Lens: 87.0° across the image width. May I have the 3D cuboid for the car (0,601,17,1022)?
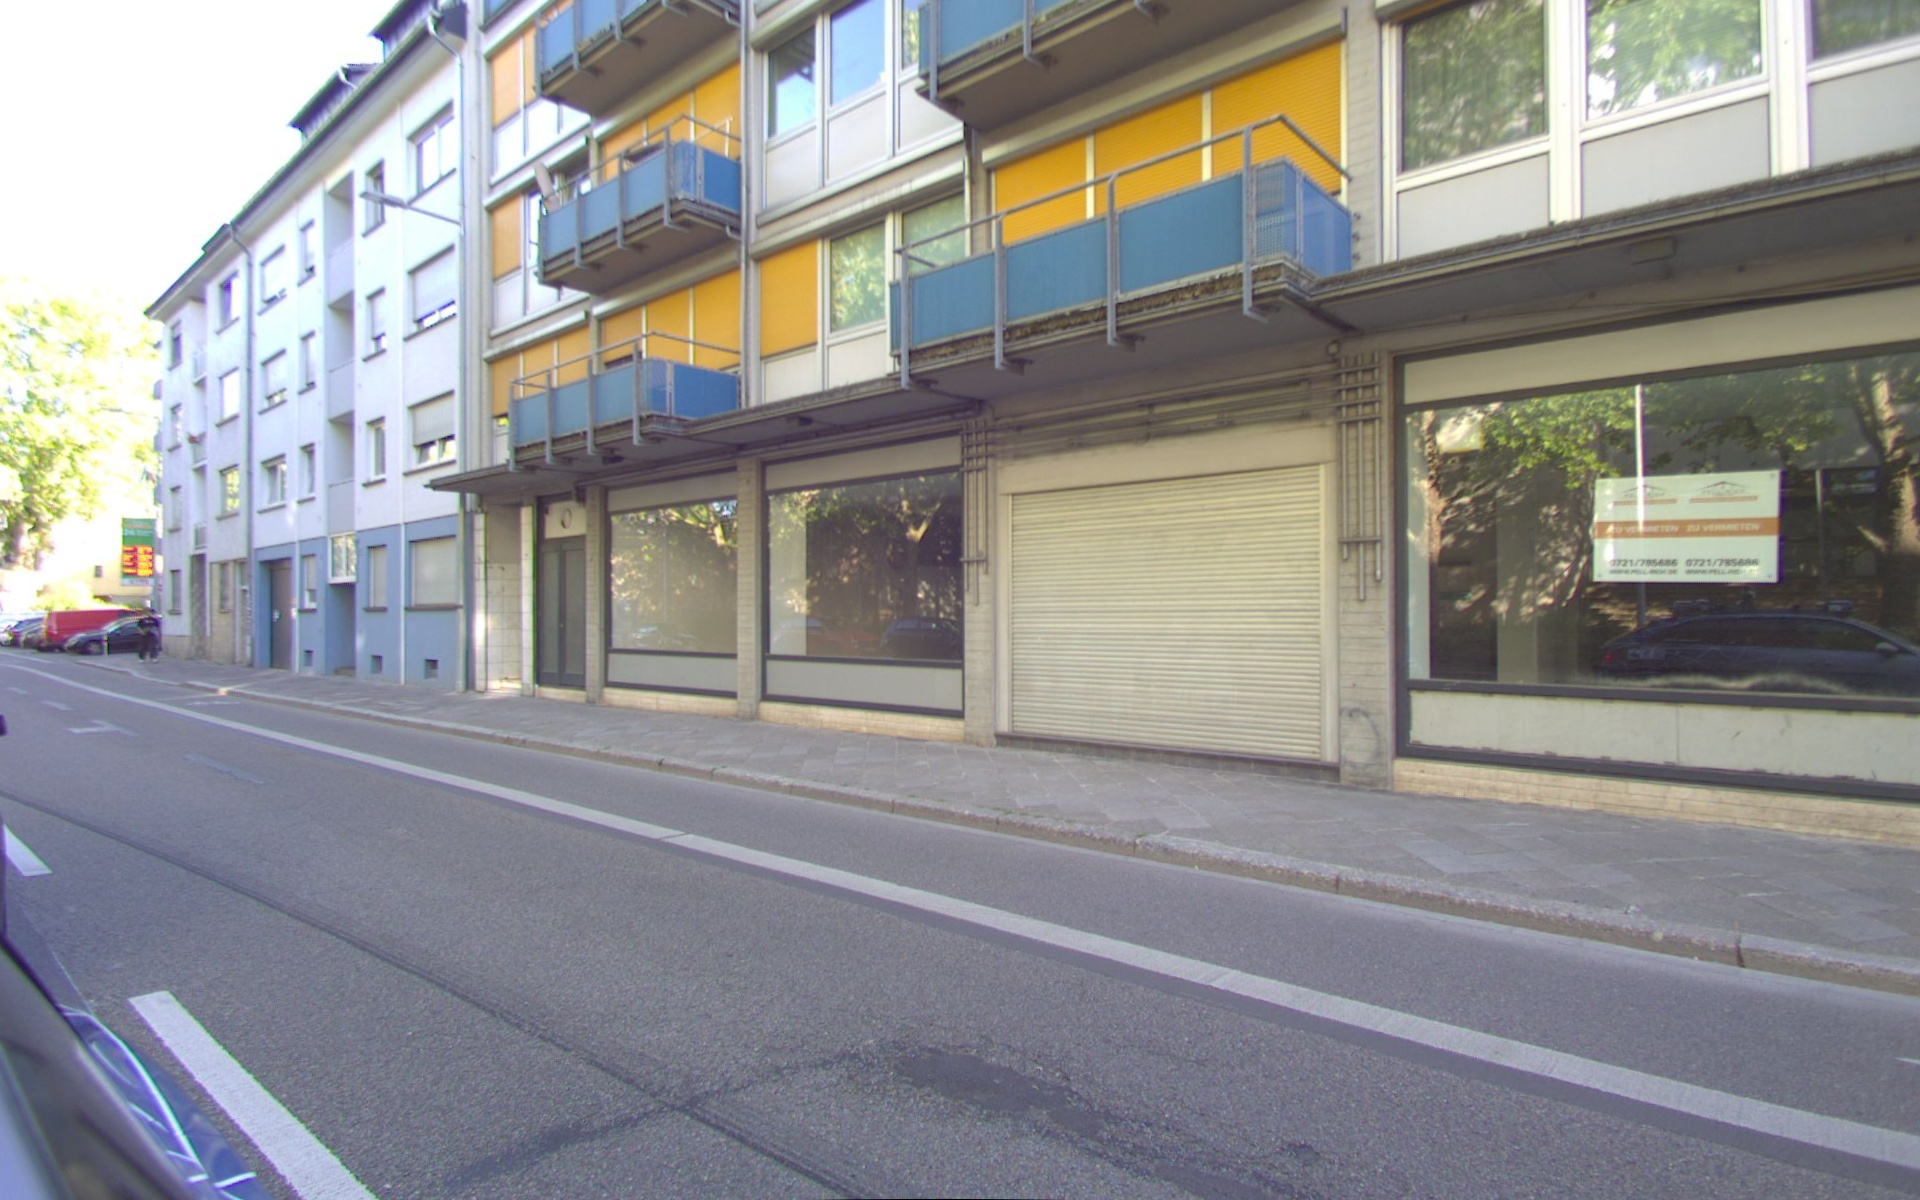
[{"bbox_3d":[-5.634,0.794,4.399,4.300,1.510,1.826,-1,-1,41],"label":"car"}]

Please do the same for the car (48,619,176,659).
[{"bbox_3d":[-38.178,1.726,45.650,1.652,1.480,4.201,-1,1,41],"label":"car"}]

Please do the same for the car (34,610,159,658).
[{"bbox_3d":[-40.559,1.553,47.612,1.817,1.933,4.202,-1,1,40],"label":"car"}]

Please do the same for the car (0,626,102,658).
[{"bbox_3d":[-50.455,2.287,56.099,1.652,1.480,4.201,-1,1,41],"label":"car"}]

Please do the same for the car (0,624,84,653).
[{"bbox_3d":[-55.870,2.294,61.191,1.652,1.480,4.201,-1,1,41],"label":"car"}]

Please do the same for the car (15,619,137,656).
[{"bbox_3d":[-42.748,1.785,49.008,1.652,1.480,4.201,-1,1,41],"label":"car"}]

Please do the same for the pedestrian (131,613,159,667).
[{"bbox_3d":[-26.196,1.264,32.520,0.655,1.708,0.604,-2,-1,41],"label":"pedestrian"}]

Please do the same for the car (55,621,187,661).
[{"bbox_3d":[-36.485,1.739,44.087,1.652,1.411,4.201,-1,1,41],"label":"car"}]

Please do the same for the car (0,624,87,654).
[{"bbox_3d":[-54.488,2.274,59.783,1.652,1.480,4.201,-1,1,41],"label":"car"}]
